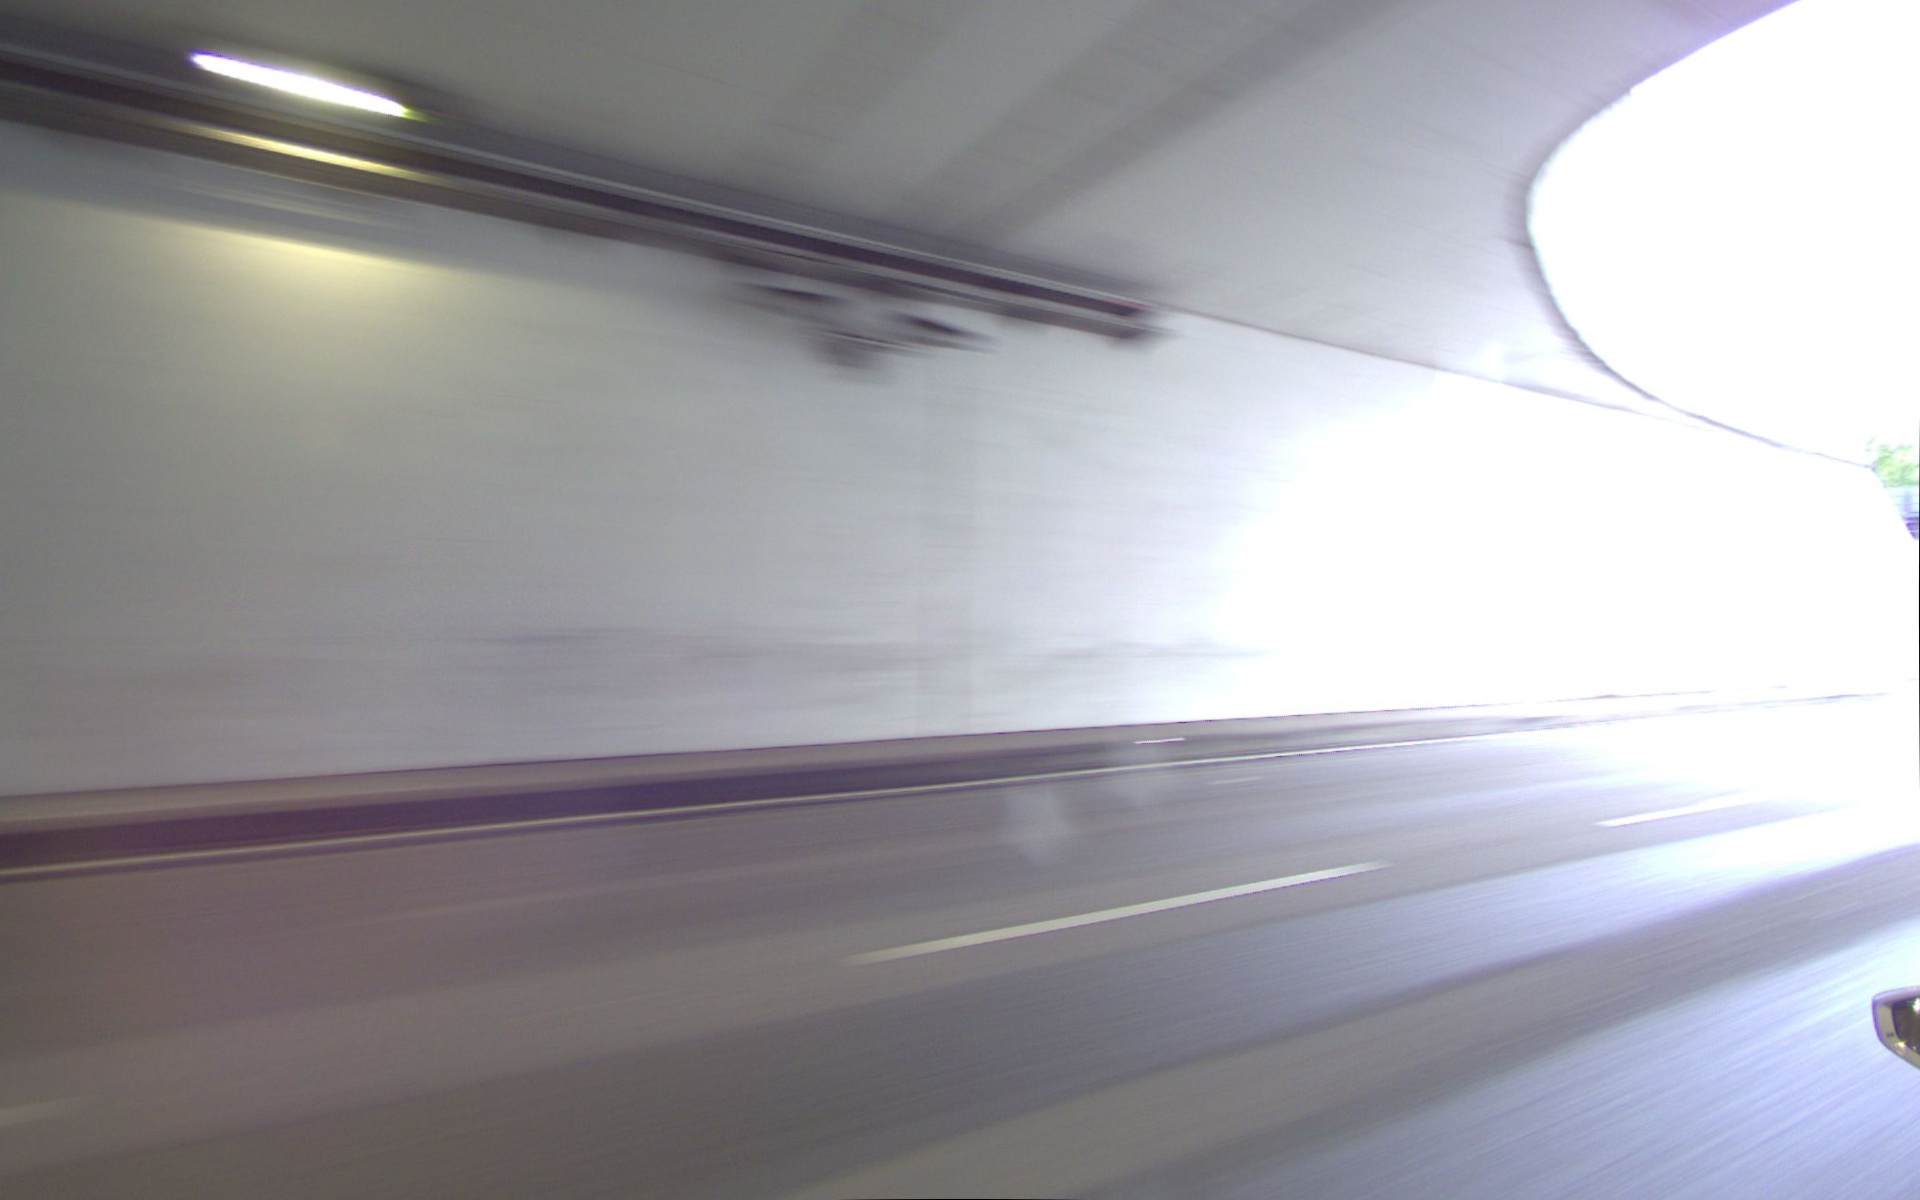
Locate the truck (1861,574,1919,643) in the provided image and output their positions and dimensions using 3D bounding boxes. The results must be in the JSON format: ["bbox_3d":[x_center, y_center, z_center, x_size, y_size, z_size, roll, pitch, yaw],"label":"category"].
[{"bbox_3d":[49.401,0.501,51.205,7.057,3.320,2.786,2,2,-28],"label":"truck"}]
